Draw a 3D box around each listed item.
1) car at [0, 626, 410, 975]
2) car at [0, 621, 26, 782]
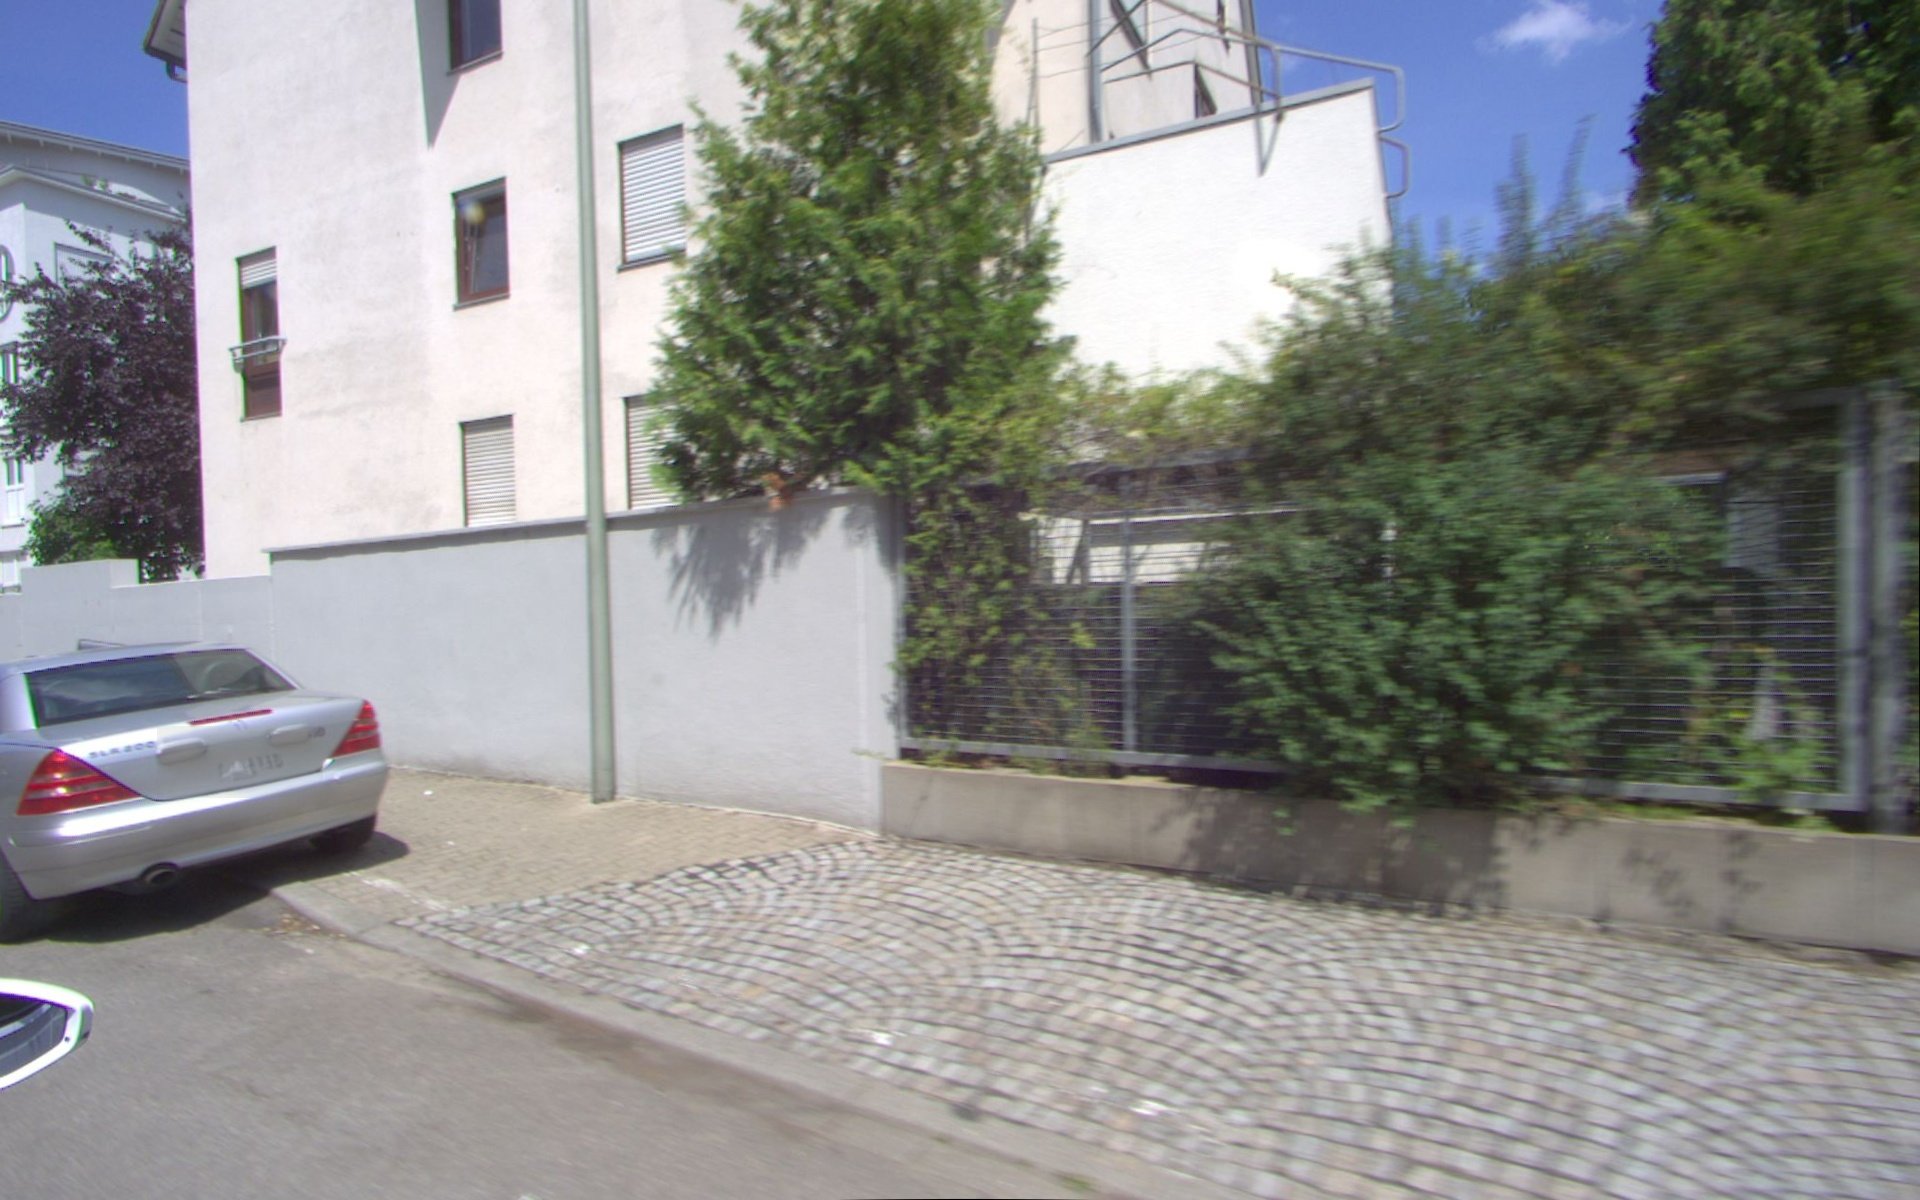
[{"bbox_3d":[-5.067,0.896,5.884,3.769,1.372,1.580,-1,2,33],"label":"car"},{"bbox_3d":[-10.438,0.925,9.182,4.177,1.394,1.653,-1,0,31],"label":"car"}]
